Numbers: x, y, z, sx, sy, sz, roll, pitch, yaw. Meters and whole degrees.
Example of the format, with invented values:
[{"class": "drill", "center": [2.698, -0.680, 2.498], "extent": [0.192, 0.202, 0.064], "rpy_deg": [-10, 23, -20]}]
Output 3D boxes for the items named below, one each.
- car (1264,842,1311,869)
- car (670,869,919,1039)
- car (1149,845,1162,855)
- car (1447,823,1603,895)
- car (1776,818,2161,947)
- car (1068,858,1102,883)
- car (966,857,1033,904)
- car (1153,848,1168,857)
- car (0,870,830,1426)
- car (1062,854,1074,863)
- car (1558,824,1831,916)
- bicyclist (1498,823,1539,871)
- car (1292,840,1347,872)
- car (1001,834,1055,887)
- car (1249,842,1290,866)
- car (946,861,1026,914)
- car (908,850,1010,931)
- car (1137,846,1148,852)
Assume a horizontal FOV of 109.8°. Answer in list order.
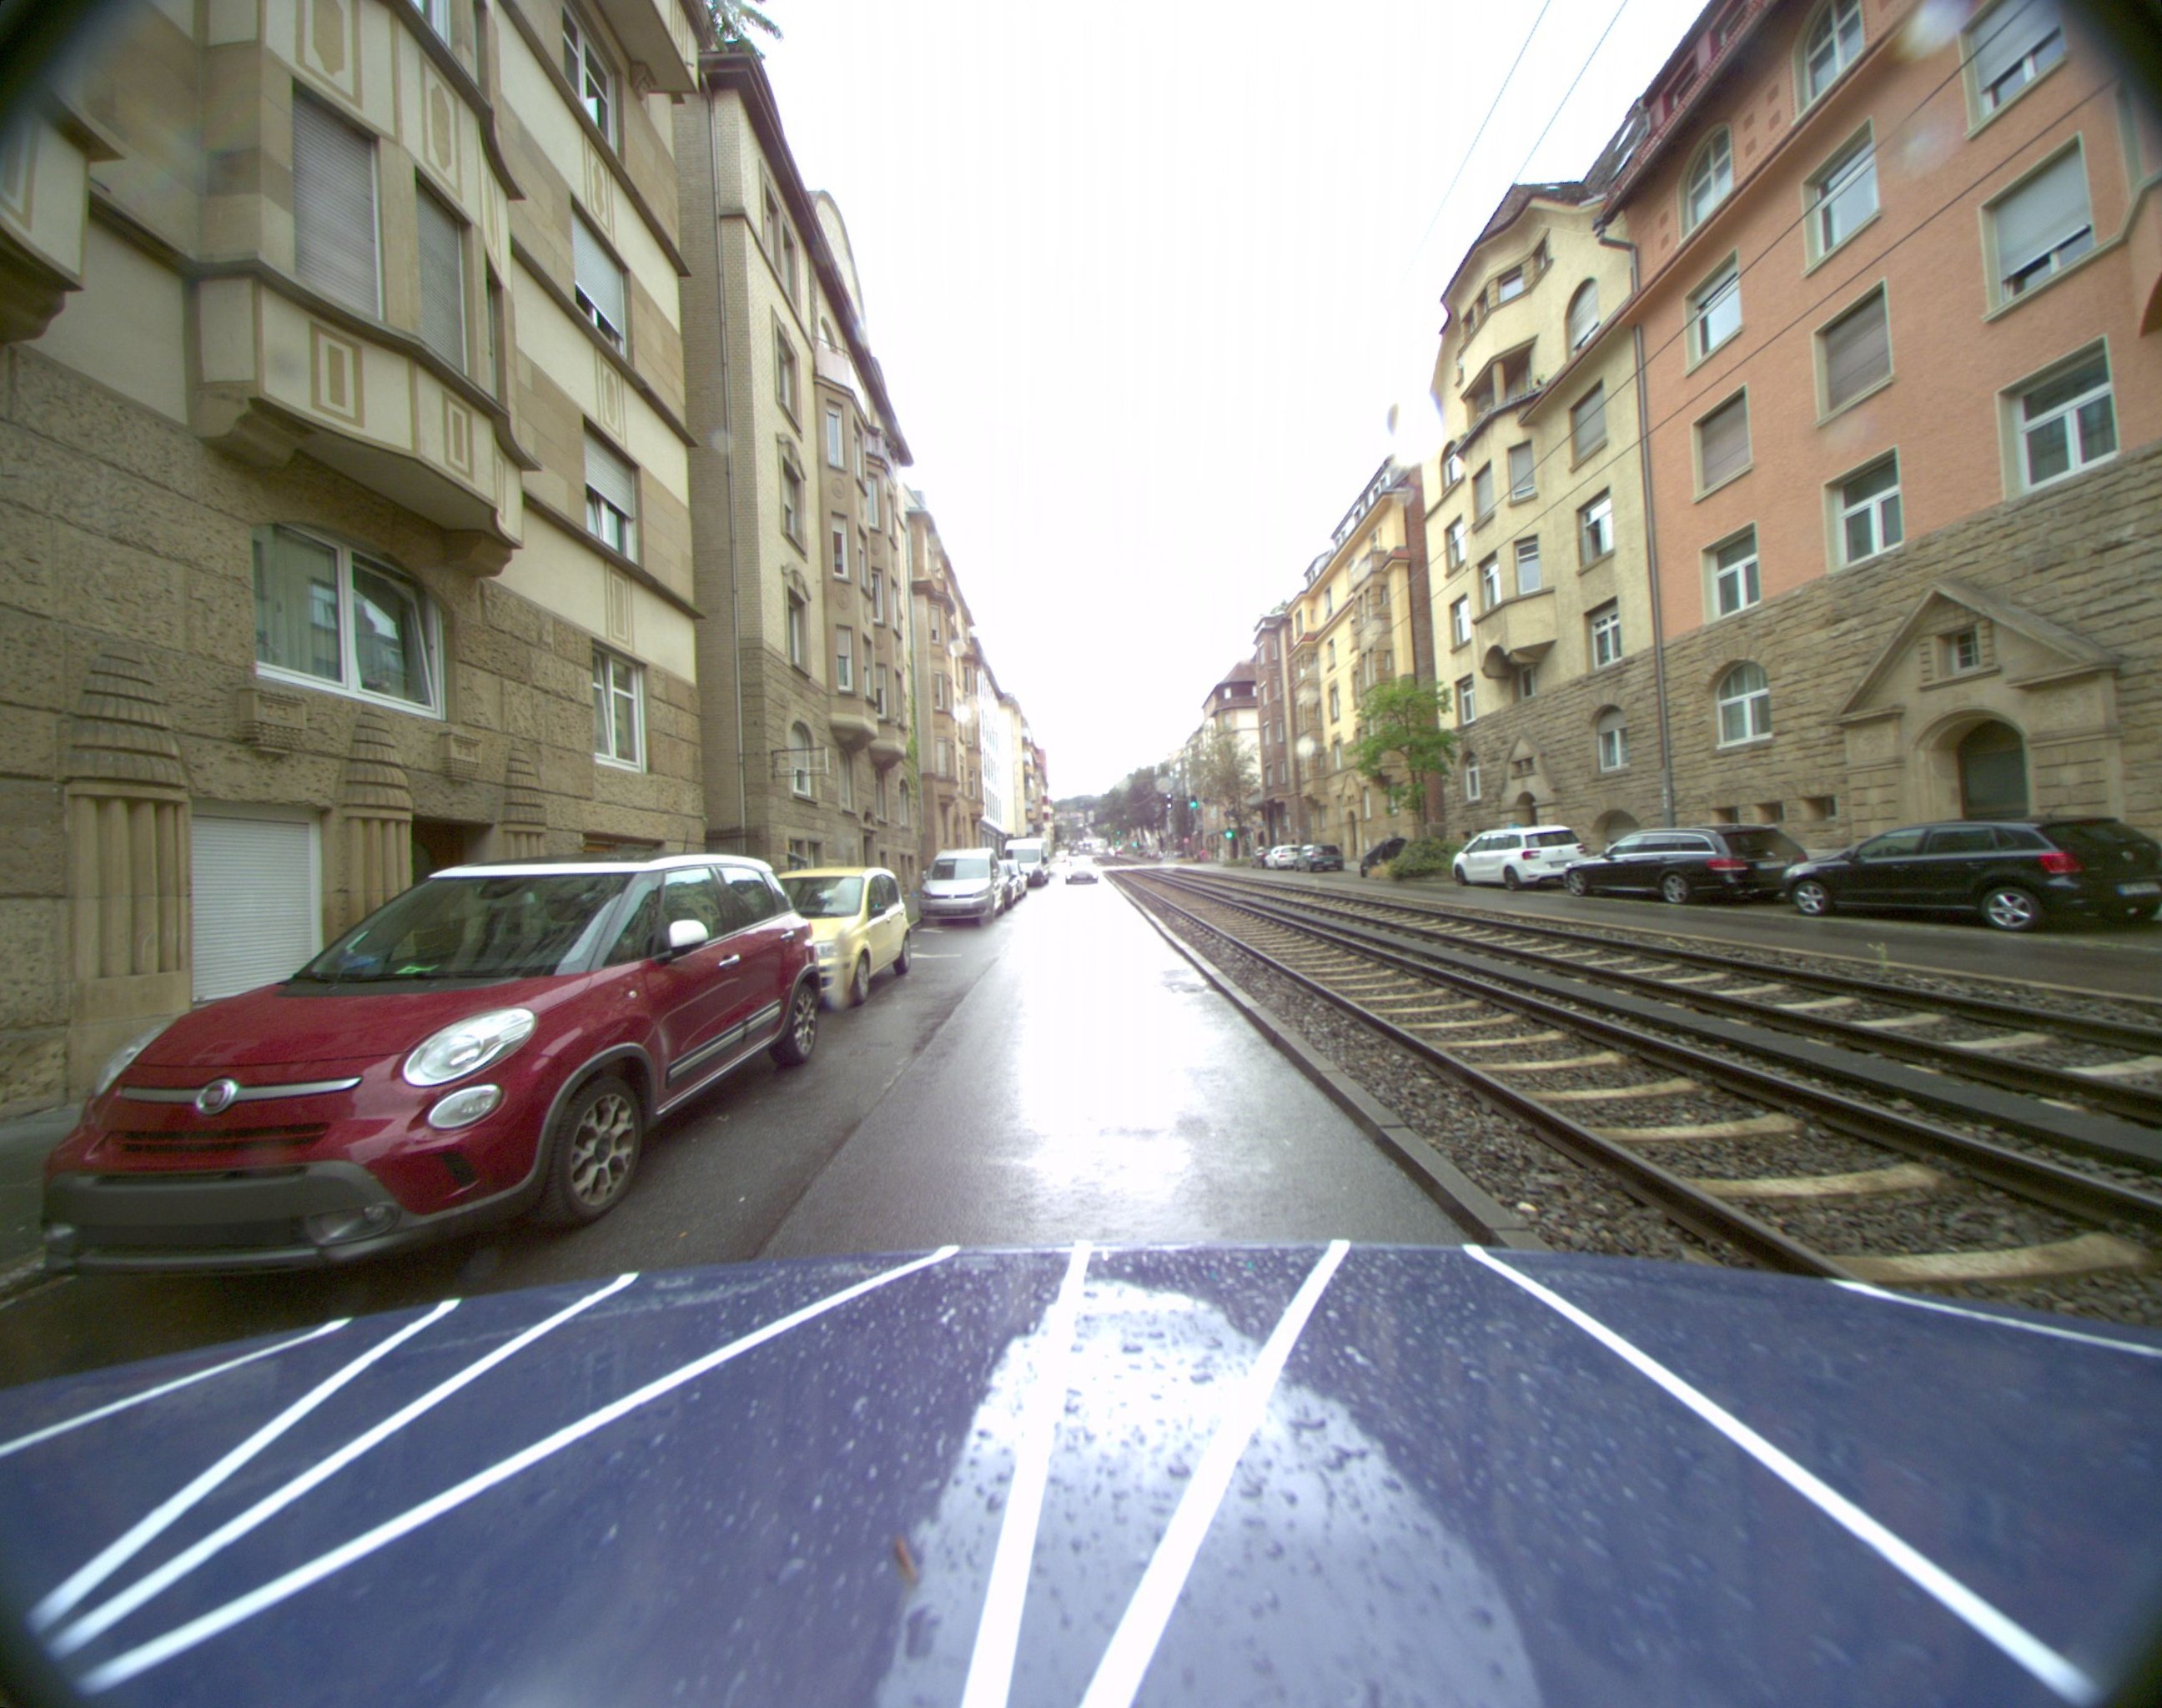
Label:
[{"class": "car", "center": [12.434, 0.060, 46.012], "extent": [1.759, 1.443, 4.043], "rpy_deg": [-5, 1, 2]}, {"class": "car", "center": [-3.189, 1.022, 9.236], "extent": [1.632, 1.502, 3.531], "rpy_deg": [-3, 0, -1]}, {"class": "car", "center": [12.472, -0.652, 127.364], "extent": [1.794, 1.609, 4.257], "rpy_deg": [-2, 1, 0]}, {"class": "car", "center": [12.228, 0.107, 21.291], "extent": [1.759, 1.663, 4.259], "rpy_deg": [-5, 1, 0]}, {"class": "car", "center": [12.447, 0.301, 10.722], "extent": [1.760, 1.396, 3.694], "rpy_deg": [-4, 1, -2]}, {"class": "car", "center": [0.222, 0.843, 41.252], "extent": [1.737, 1.262, 4.258], "rpy_deg": [0, 0, 1]}, {"class": "car", "center": [-2.994, 0.926, 28.742], "extent": [1.935, 1.516, 4.058], "rpy_deg": [-3, 0, 1]}, {"class": "car", "center": [12.033, -0.263, 115.777], "extent": [1.794, 1.339, 4.257], "rpy_deg": [-2, 1, 0]}, {"class": "car", "center": [-2.988, 0.960, 4.352], "extent": [1.774, 1.592, 3.999], "rpy_deg": [-1, 0, -1]}, {"class": "car", "center": [-2.144, 0.711, 127.573], "extent": [1.794, 1.459, 4.257], "rpy_deg": [-2, 1, 1]}, {"class": "car", "center": [12.205, 0.250, 15.628], "extent": [1.760, 1.482, 4.597], "rpy_deg": [-4, 1, -1]}, {"class": "bicyclist", "center": [14.837, -0.233, 25.795], "extent": [0.894, 1.592, 0.774], "rpy_deg": [-2, 1, 1]}, {"class": "car", "center": [12.492, 0.064, 39.949], "extent": [1.717, 1.473, 3.712], "rpy_deg": [-5, 1, 2]}, {"class": "car", "center": [-2.712, 0.297, 40.186], "extent": [1.991, 2.520, 6.155], "rpy_deg": [-3, 0, 3]}, {"class": "car", "center": [12.565, -0.011, 50.847], "extent": [1.759, 1.419, 3.712], "rpy_deg": [-5, 1, 2]}, {"class": "car", "center": [-2.918, 1.004, 24.225], "extent": [1.931, 1.380, 3.982], "rpy_deg": [-3, 0, 1]}, {"class": "car", "center": [-2.949, 0.825, 19.206], "extent": [1.811, 1.758, 3.962], "rpy_deg": [-2, 0, 1]}, {"class": "car", "center": [12.785, -1.054, 157.801], "extent": [1.794, 1.339, 4.257], "rpy_deg": [-2, 1, 0]}]
